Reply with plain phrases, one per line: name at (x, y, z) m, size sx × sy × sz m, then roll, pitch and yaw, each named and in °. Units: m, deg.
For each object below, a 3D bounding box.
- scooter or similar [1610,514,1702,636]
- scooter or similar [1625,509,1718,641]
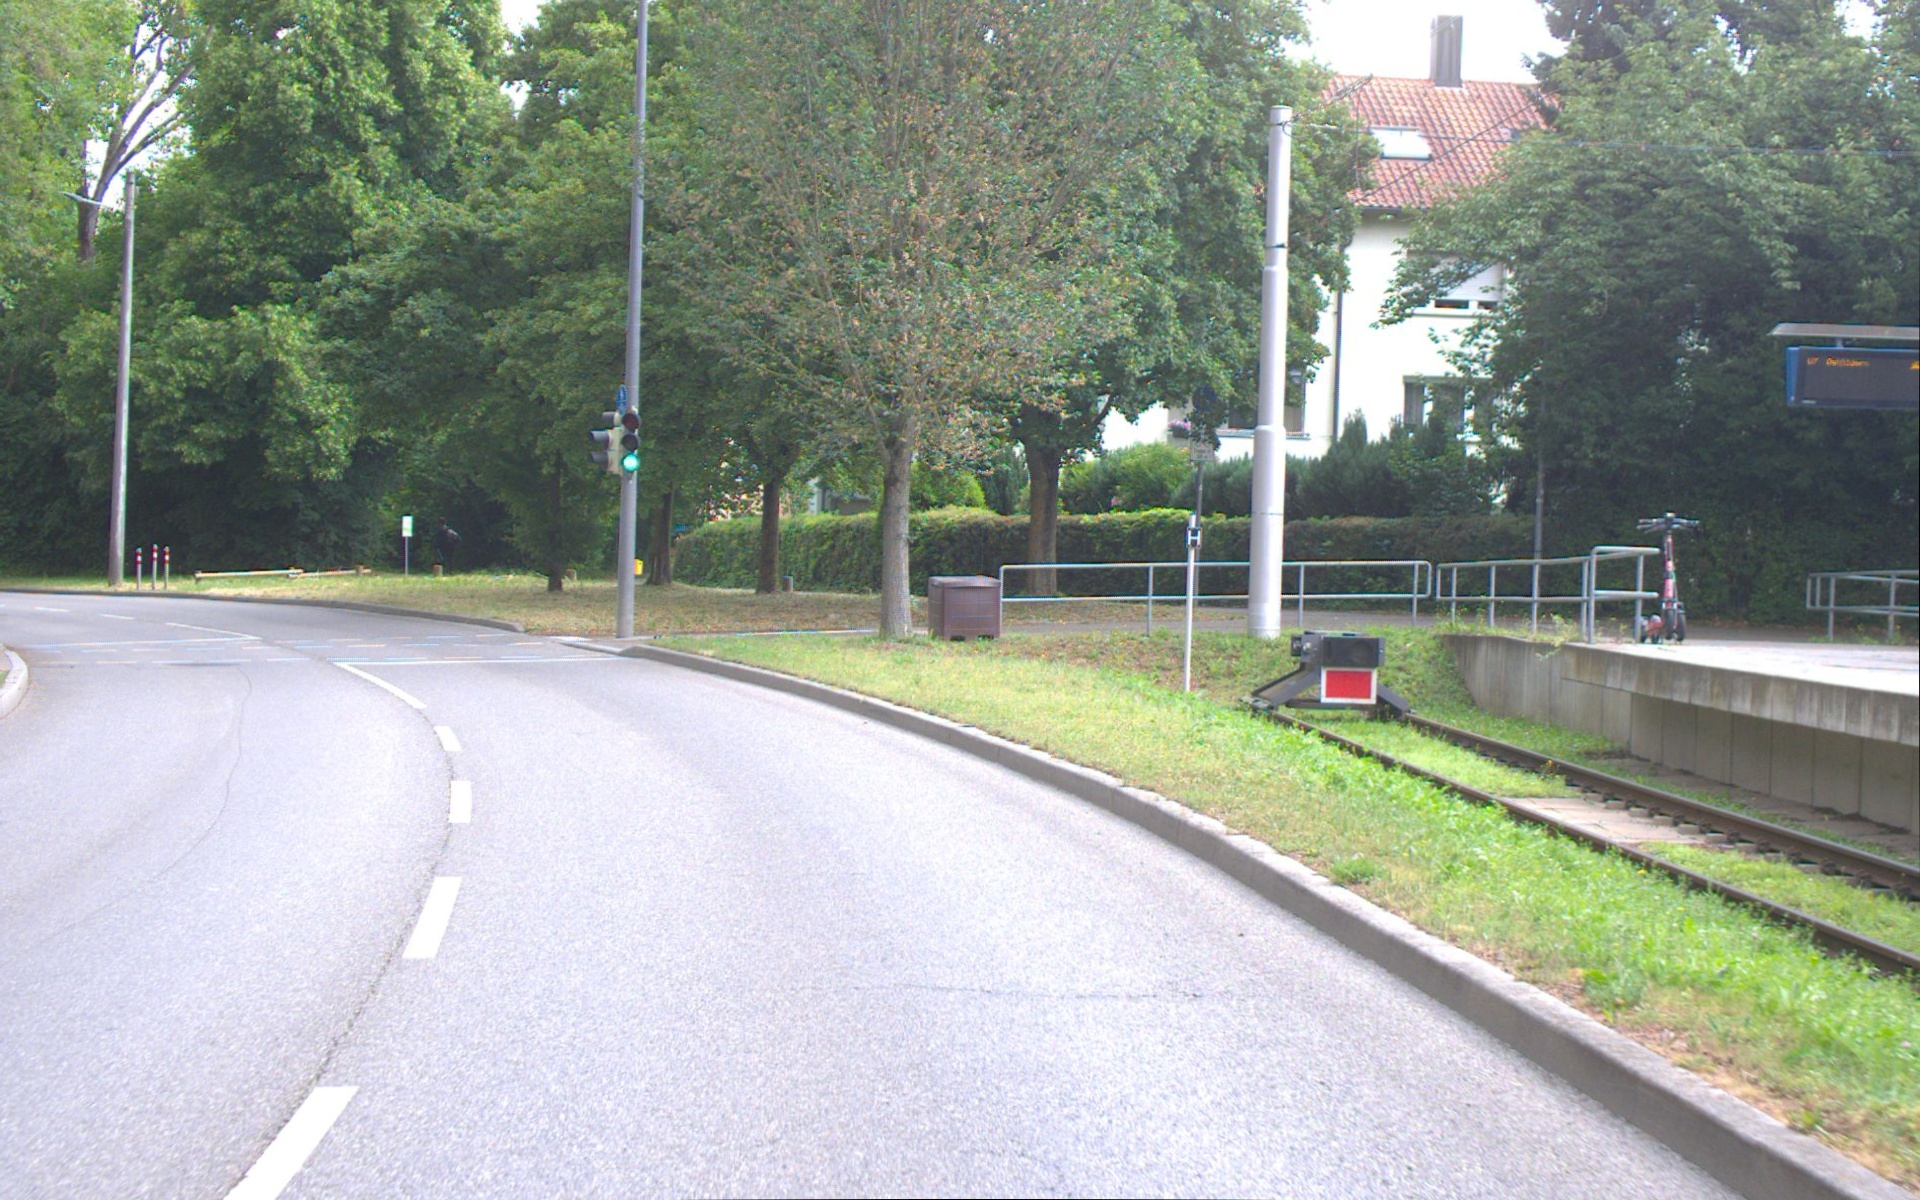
scooter or similar at (7.253, -0.253, 35.866) m, size 0.429 × 1.249 × 1.255 m, roll 0°, pitch -1°, yaw -15°
scooter or similar at (6.869, -0.232, 33.224) m, size 0.429 × 1.249 × 1.255 m, roll 0°, pitch -1°, yaw -11°
